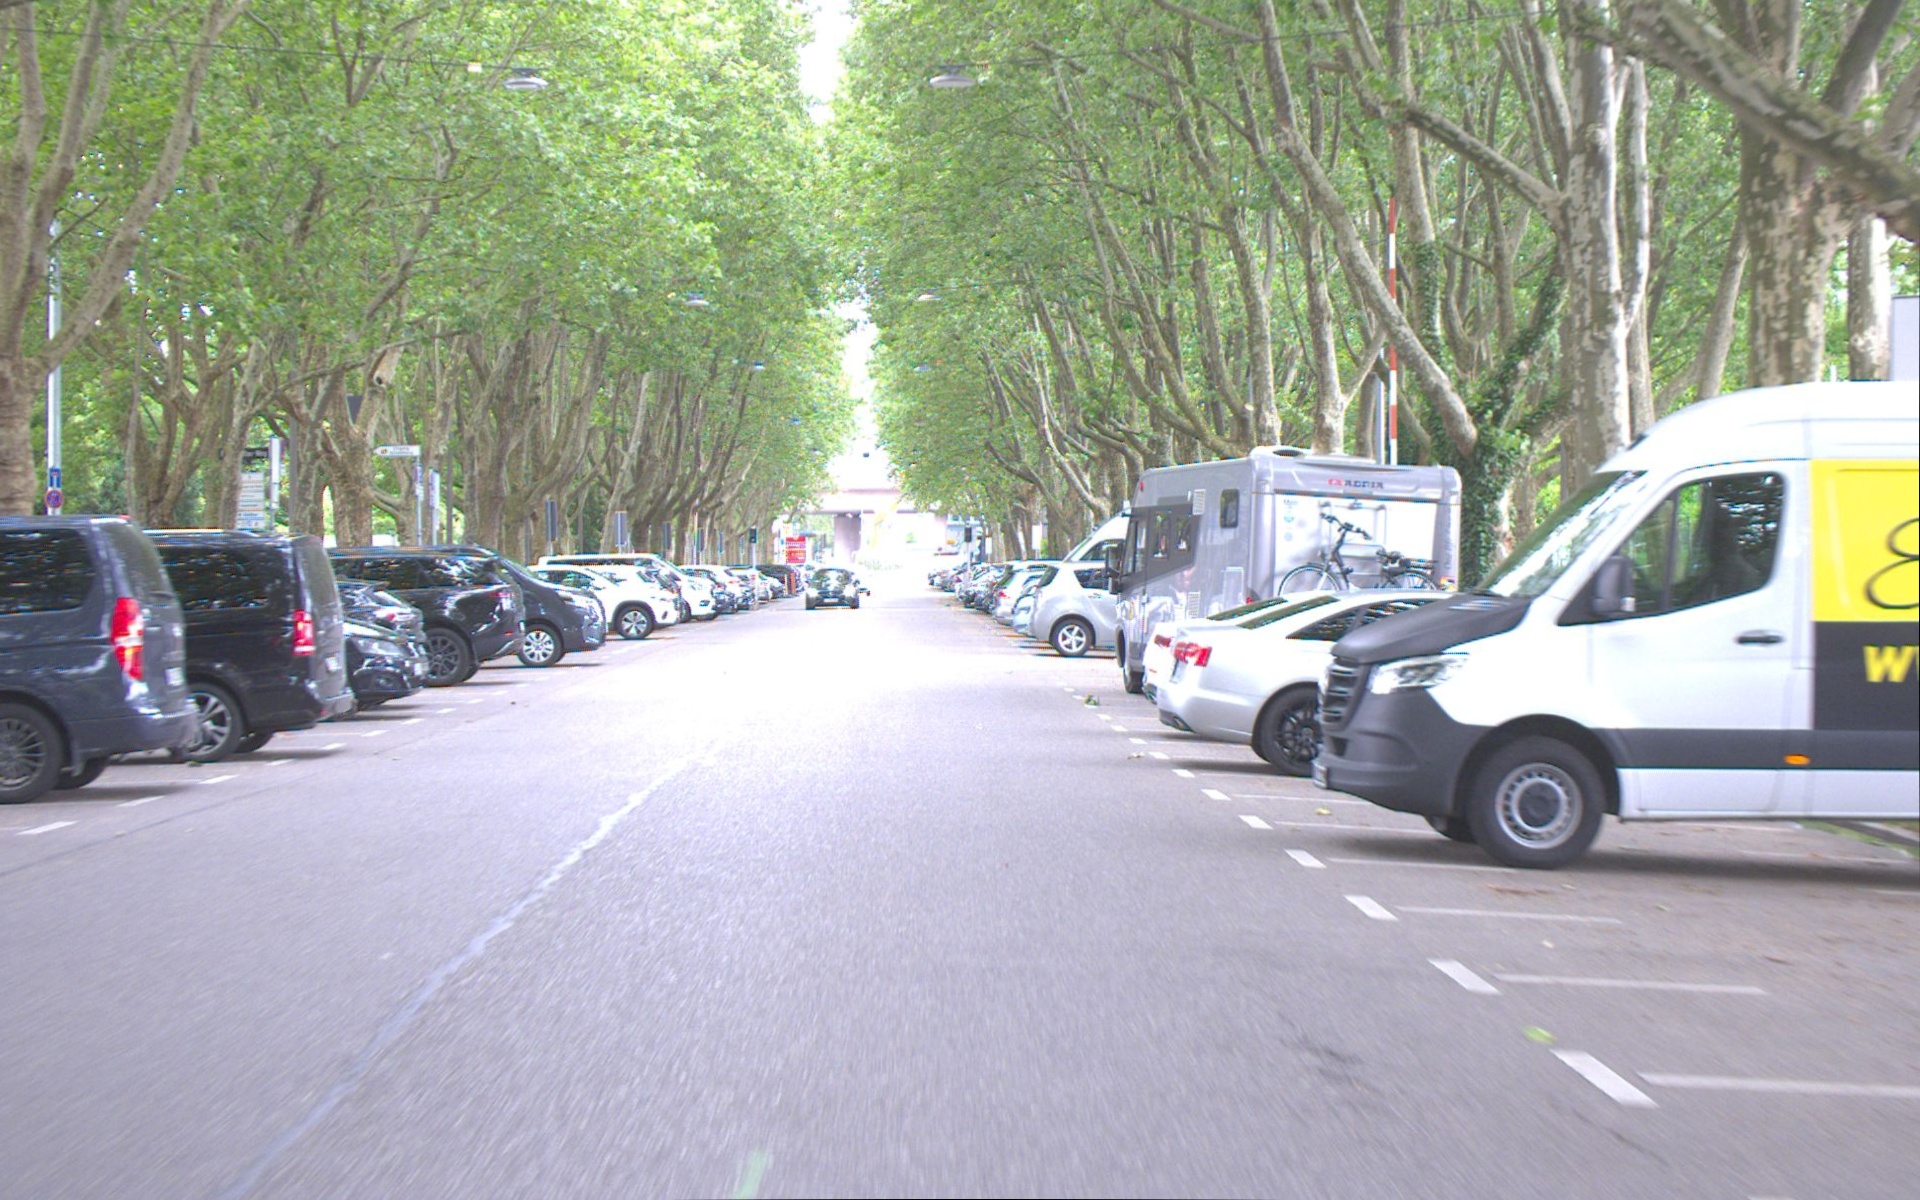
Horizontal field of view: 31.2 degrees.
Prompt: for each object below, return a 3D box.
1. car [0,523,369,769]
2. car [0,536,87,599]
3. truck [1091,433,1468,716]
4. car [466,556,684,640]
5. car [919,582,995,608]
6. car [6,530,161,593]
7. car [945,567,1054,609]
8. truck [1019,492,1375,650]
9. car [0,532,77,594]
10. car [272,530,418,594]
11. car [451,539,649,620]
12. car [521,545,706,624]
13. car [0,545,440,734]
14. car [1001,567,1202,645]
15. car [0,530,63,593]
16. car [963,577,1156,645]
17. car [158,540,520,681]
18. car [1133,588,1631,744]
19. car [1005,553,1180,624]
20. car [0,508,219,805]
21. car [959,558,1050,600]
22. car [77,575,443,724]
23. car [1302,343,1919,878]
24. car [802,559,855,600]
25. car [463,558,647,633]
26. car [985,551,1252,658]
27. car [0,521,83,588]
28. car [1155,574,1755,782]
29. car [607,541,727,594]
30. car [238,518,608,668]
[{"bbox_3d":[-7.592,0.379,28.678,4.905,1.917,2.208,-1,1,0],"label":"car"},{"bbox_3d":[-36.478,-1.273,130.774,6.001,2.310,2.000,1,0,-1],"label":"car"},{"bbox_3d":[3.512,-0.306,39.875,2.457,2.928,7.540,1,1,-9],"label":"truck"},{"bbox_3d":[-8.011,-0.056,71.858,4.379,1.591,2.000,-2,1,-3],"label":"car"},{"bbox_3d":[-0.172,-0.309,196.452,4.176,1.437,1.731,1,0,4],"label":"car"},{"bbox_3d":[-36.949,-1.622,145.068,6.001,2.518,2.000,1,0,-1],"label":"car"},{"bbox_3d":[1.564,-0.484,136.232,4.166,1.591,1.855,1,0,-4],"label":"car"},{"bbox_3d":[4.255,-0.527,62.325,6.294,2.706,2.098,1,0,2],"label":"truck"},{"bbox_3d":[-36.128,-1.409,127.974,6.001,2.245,2.000,1,0,-1],"label":"car"},{"bbox_3d":[-26.045,-1.620,145.614,5.786,2.588,2.000,1,0,0],"label":"car"},{"bbox_3d":[-9.467,-0.474,79.644,4.340,1.662,2.000,-2,1,-3],"label":"car"},{"bbox_3d":[-9.522,-0.430,94.824,4.893,2.012,1.920,-2,0,-2],"label":"car"},{"bbox_3d":[-7.942,0.401,36.188,4.579,1.775,1.798,-2,2,1],"label":"car"},{"bbox_3d":[2.964,0.124,72.633,4.119,1.424,1.703,3,0,1],"label":"car"},{"bbox_3d":[-35.948,-1.438,125.184,6.001,2.245,2.000,1,0,-1],"label":"car"},{"bbox_3d":[2.369,0.267,82.874,4.501,1.521,1.703,1,0,-3],"label":"car"},{"bbox_3d":[-8.248,0.143,45.903,4.652,1.814,1.806,0,-1,-9],"label":"car"},{"bbox_3d":[3.800,0.587,31.446,4.320,1.297,1.700,1,0,0],"label":"car"},{"bbox_3d":[3.445,-0.305,89.963,4.383,1.749,1.801,1,0,-3],"label":"car"},{"bbox_3d":[-7.612,0.399,23.419,4.761,1.917,2.018,-1,1,-5],"label":"car"},{"bbox_3d":[1.835,-0.861,142.705,3.645,1.661,1.519,1,0,-4],"label":"car"},{"bbox_3d":[-7.886,0.534,38.662,3.896,1.489,1.754,-2,0,-14],"label":"car"},{"bbox_3d":[5.422,0.080,18.671,6.881,2.686,2.127,1,0,1],"label":"car"},{"bbox_3d":[-4.674,-0.746,122.159,1.654,1.359,4.113,-2,1,-4],"label":"car"},{"bbox_3d":[-10.020,-0.121,85.303,4.340,1.662,2.000,-2,1,-3],"label":"car"},{"bbox_3d":[2.641,0.063,57.507,4.340,1.612,1.803,2,0,2],"label":"car"},{"bbox_3d":[-37.309,-1.803,133.380,6.001,2.518,2.000,1,0,-1],"label":"car"},{"bbox_3d":[3.685,0.566,26.161,4.359,1.440,1.612,1,0,3],"label":"car"},{"bbox_3d":[-9.521,-1.056,112.069,3.826,1.622,1.953,-2,1,-4],"label":"car"},{"bbox_3d":[-8.294,-0.125,53.443,5.435,2.120,1.940,-2,1,-2],"label":"car"}]
